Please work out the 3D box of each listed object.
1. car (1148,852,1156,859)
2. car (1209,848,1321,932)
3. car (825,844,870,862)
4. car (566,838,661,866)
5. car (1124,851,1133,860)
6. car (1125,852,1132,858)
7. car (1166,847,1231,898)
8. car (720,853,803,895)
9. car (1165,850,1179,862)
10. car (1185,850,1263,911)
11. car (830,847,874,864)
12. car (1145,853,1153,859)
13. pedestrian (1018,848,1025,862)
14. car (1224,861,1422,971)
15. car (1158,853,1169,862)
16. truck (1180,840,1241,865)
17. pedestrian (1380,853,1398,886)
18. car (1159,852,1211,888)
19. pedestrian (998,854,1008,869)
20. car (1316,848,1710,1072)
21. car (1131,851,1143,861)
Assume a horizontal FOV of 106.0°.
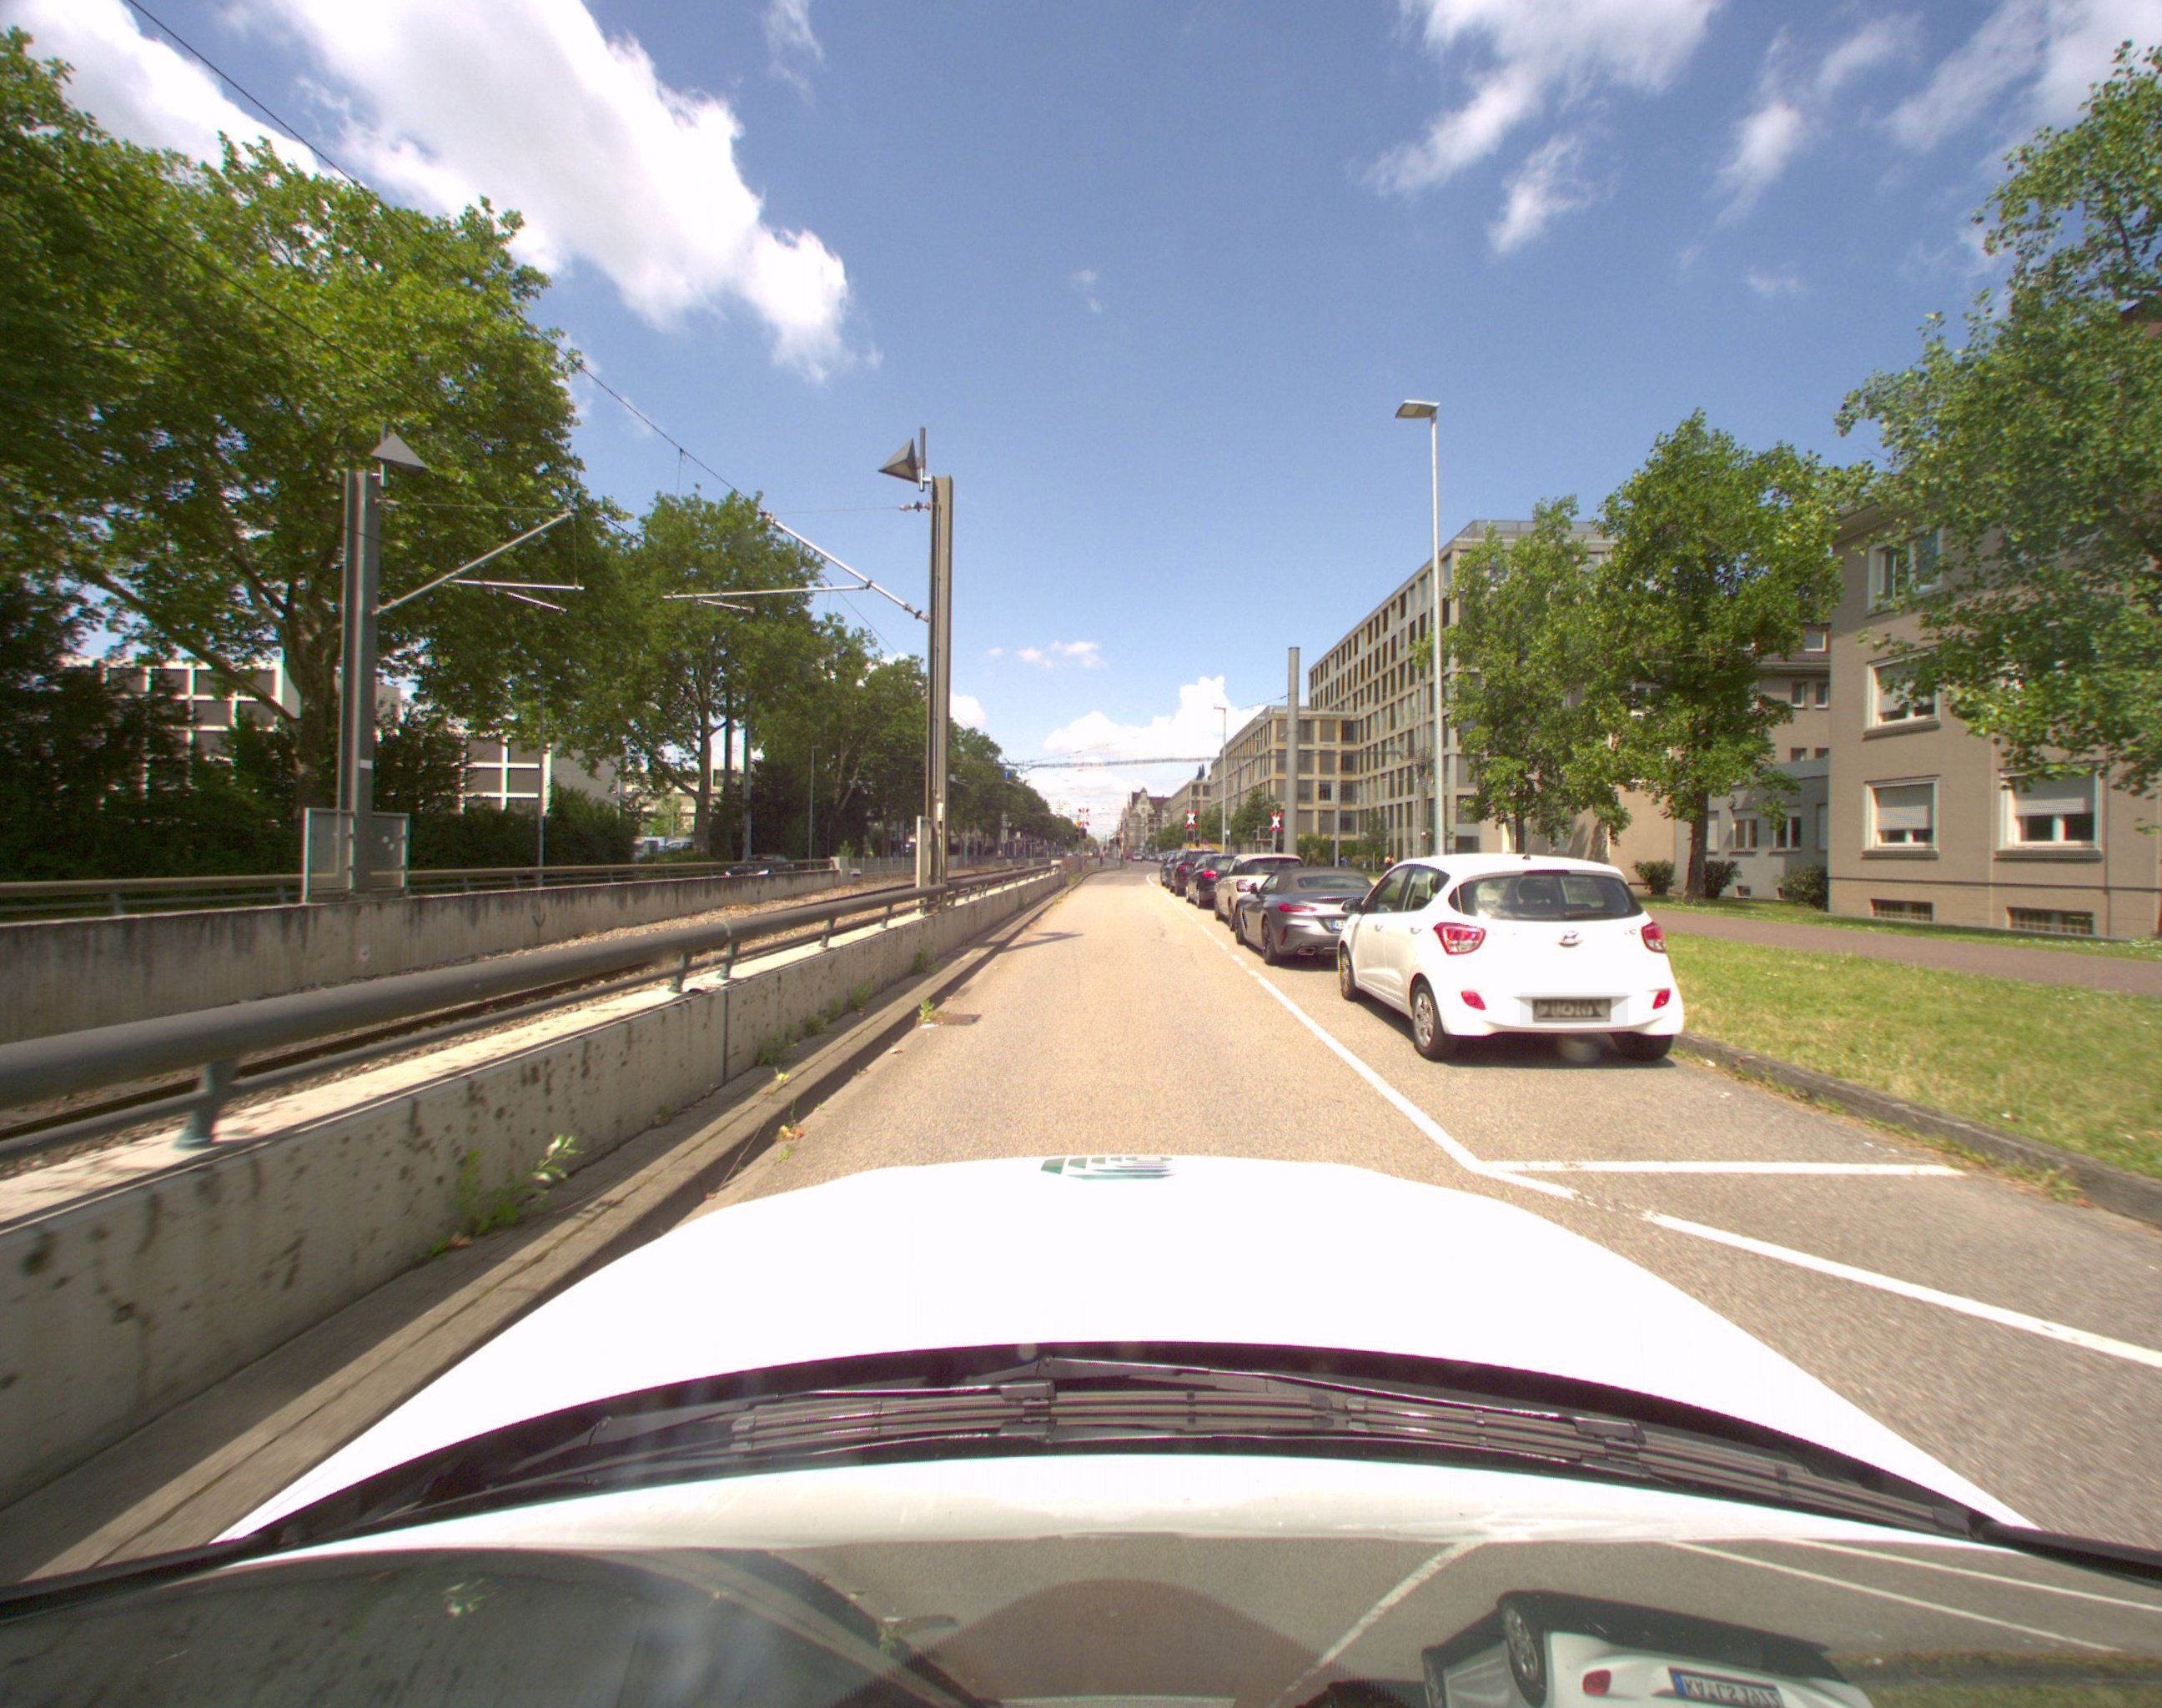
[{"bbox_3d":[15.714,0.415,181.004,1.585,1.460,3.615,2,0,3],"label":"car"},{"bbox_3d":[3.686,0.665,16.889,1.662,1.515,3.854,-1,0,3],"label":"car"},{"bbox_3d":[-23.142,-0.108,80.743,3.976,1.750,1.802,0,0,-2],"label":"car"},{"bbox_3d":[-25.280,-0.124,44.143,3.971,1.442,2.001,0,0,2],"label":"car"},{"bbox_3d":[11.300,0.365,194.647,1.986,2.014,4.002,-1,0,2],"label":"car"},{"bbox_3d":[11.273,0.244,194.533,1.438,1.470,4.092,-2,0,0],"label":"car"},{"bbox_3d":[4.138,0.607,29.392,1.809,1.662,4.672,-1,0,2],"label":"car"},{"bbox_3d":[-13.378,0.789,34.409,1.661,1.597,4.300,0,0,2],"label":"car"},{"bbox_3d":[14.211,0.309,127.196,1.874,1.939,4.845,-1,0,2],"label":"car"},{"bbox_3d":[3.923,0.665,22.896,1.637,1.530,4.446,-1,0,3],"label":"car"},{"bbox_3d":[-23.296,0.123,82.942,3.976,1.750,1.802,0,0,-2],"label":"car"},{"bbox_3d":[16.049,0.485,192.117,1.586,1.434,4.106,2,0,0],"label":"car"},{"bbox_3d":[-7.558,0.131,103.628,0.704,1.845,0.864,-1,-1,1],"label":"pedestrian"},{"bbox_3d":[3.405,0.793,12.374,1.817,1.312,4.444,0,0,2],"label":"car"},{"bbox_3d":[14.909,0.552,147.960,1.679,1.606,4.153,-1,0,2],"label":"car"},{"bbox_3d":[15.234,-0.202,95.852,6.785,2.867,2.454,1,-1,-1],"label":"truck"},{"bbox_3d":[15.432,0.760,40.827,0.620,1.608,0.624,-1,-1,-1],"label":"pedestrian"},{"bbox_3d":[4.516,0.655,35.927,1.809,1.454,4.992,-1,0,2],"label":"car"},{"bbox_3d":[-7.446,0.727,77.843,0.859,1.343,0.922,-1,0,-1],"label":"pedestrian"},{"bbox_3d":[3.416,0.711,7.320,1.700,1.479,3.793,-1,0,3],"label":"car"},{"bbox_3d":[9.910,0.338,143.549,1.862,1.746,4.001,2,0,1],"label":"car"}]
